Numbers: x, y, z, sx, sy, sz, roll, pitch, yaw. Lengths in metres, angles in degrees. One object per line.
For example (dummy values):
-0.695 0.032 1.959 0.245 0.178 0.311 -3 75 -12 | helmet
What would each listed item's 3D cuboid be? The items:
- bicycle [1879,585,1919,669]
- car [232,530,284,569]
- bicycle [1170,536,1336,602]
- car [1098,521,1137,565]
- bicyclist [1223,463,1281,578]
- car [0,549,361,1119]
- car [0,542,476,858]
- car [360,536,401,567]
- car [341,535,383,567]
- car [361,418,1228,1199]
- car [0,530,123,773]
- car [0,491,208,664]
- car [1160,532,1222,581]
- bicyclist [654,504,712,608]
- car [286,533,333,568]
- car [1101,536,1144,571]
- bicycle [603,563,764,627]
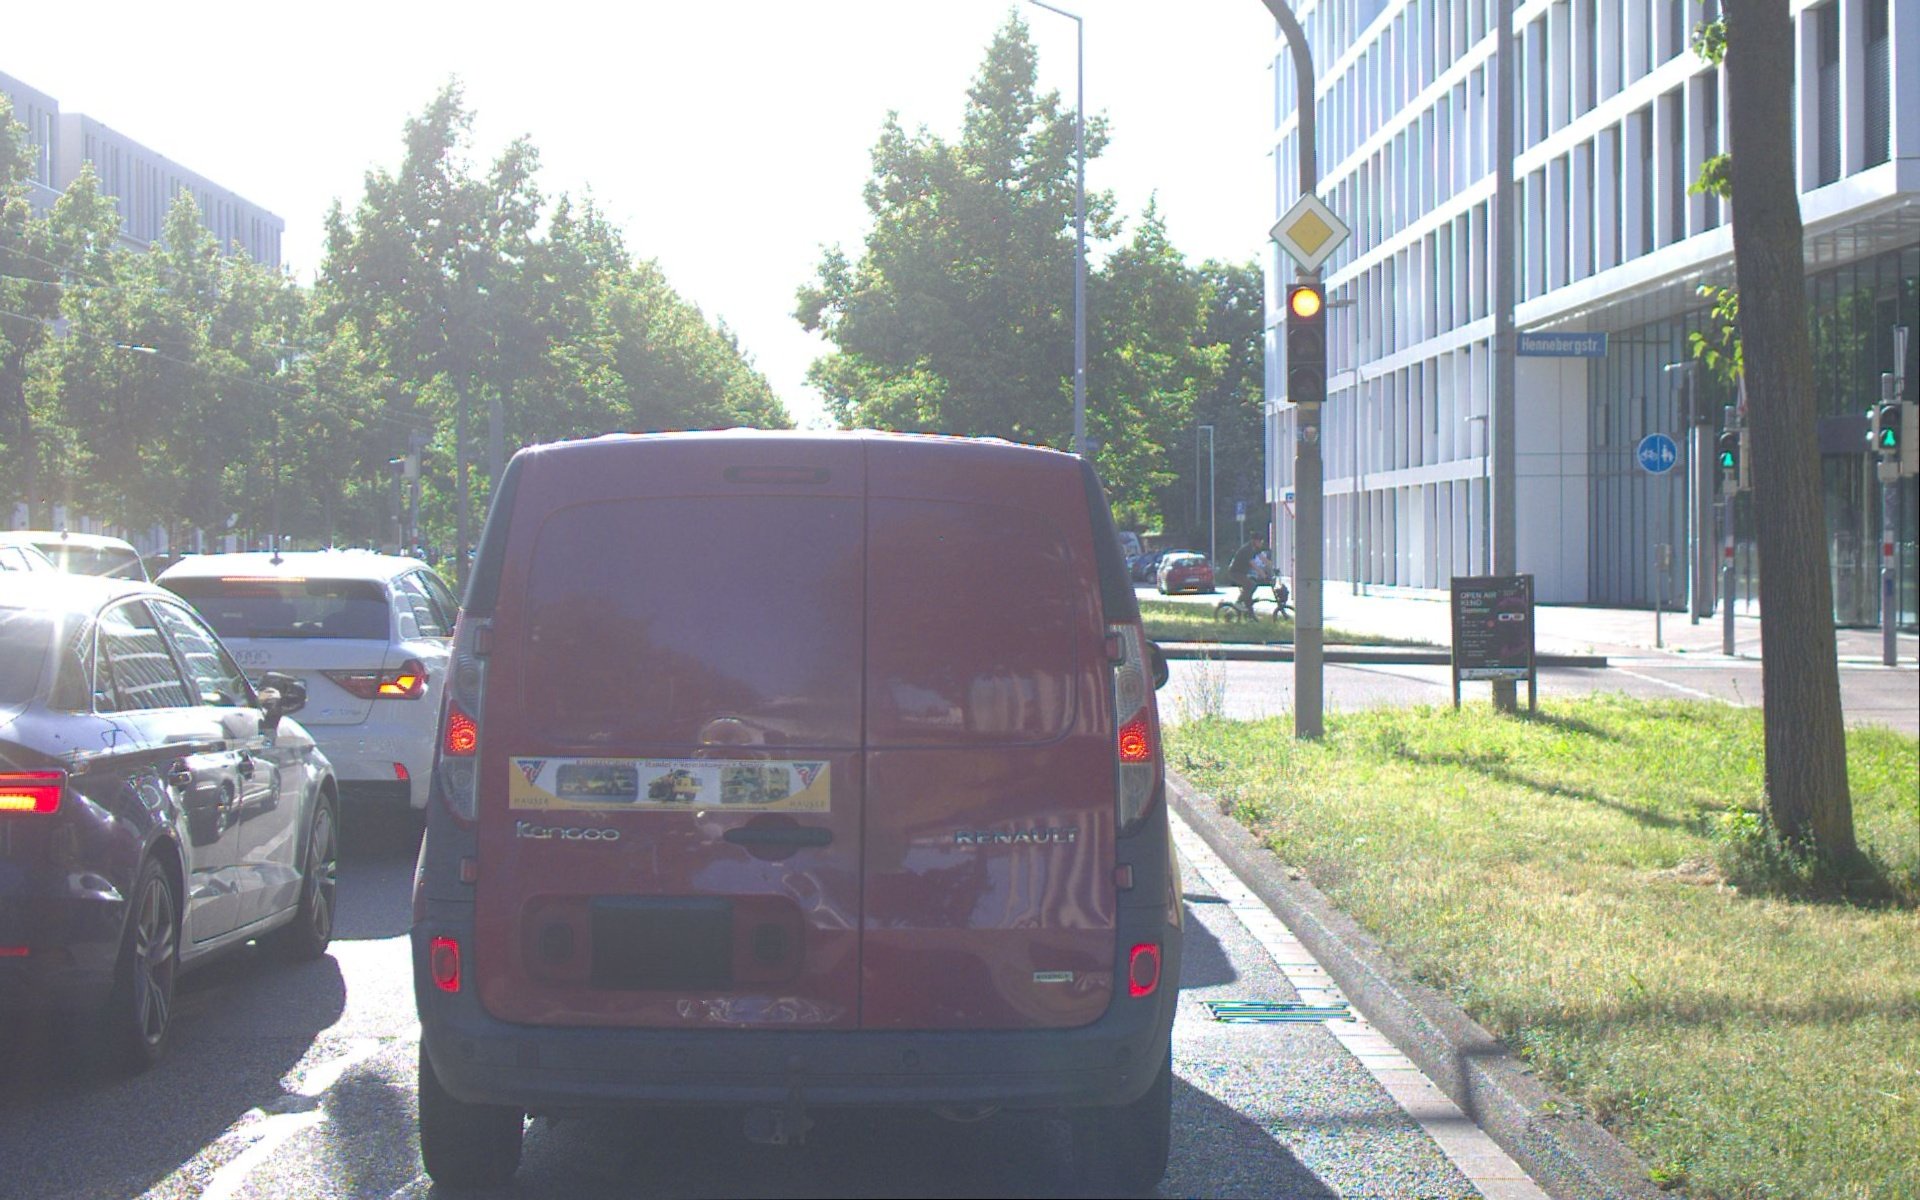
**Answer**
13.892 0.358 46.348 2.838 1.111 0.820 0 1 9 | bicycle
-37.225 -2.689 182.416 1.993 2.007 4.000 0 1 -1 | car
5.351 -0.576 62.760 2.944 1.186 0.817 0 1 14 | bicycle
9.074 -3.277 198.329 1.993 2.488 4.987 0 1 -1 | car
5.336 -1.448 62.762 0.940 2.085 0.817 0 1 14 | bicyclist
-3.169 0.562 10.880 1.842 1.421 4.339 0 1 -1 | car
-3.629 0.424 17.585 1.803 1.421 3.901 0 1 -1 | car
-37.544 -3.176 222.872 1.993 2.007 4.000 0 1 -1 | car
-37.755 -3.118 217.248 1.993 2.007 4.000 0 1 -1 | car
-0.378 0.465 9.328 1.842 1.774 4.000 0 1 -1 | car
-6.635 0.300 21.980 1.515 1.487 4.216 0 1 0 | car
-8.028 -0.233 31.158 1.798 1.442 4.570 0 1 -20 | car
8.578 -1.631 127.883 1.993 1.776 4.000 0 1 -1 | car
-5.181 -0.823 64.281 0.998 1.940 0.818 0 1 1 | bicyclist
-37.675 -2.903 199.230 1.993 2.007 4.000 0 1 -1 | car
8.488 -2.443 179.820 1.993 1.776 4.000 0 1 -1 | car
-5.165 -0.093 64.277 2.942 1.186 0.818 0 1 1 | bicycle
